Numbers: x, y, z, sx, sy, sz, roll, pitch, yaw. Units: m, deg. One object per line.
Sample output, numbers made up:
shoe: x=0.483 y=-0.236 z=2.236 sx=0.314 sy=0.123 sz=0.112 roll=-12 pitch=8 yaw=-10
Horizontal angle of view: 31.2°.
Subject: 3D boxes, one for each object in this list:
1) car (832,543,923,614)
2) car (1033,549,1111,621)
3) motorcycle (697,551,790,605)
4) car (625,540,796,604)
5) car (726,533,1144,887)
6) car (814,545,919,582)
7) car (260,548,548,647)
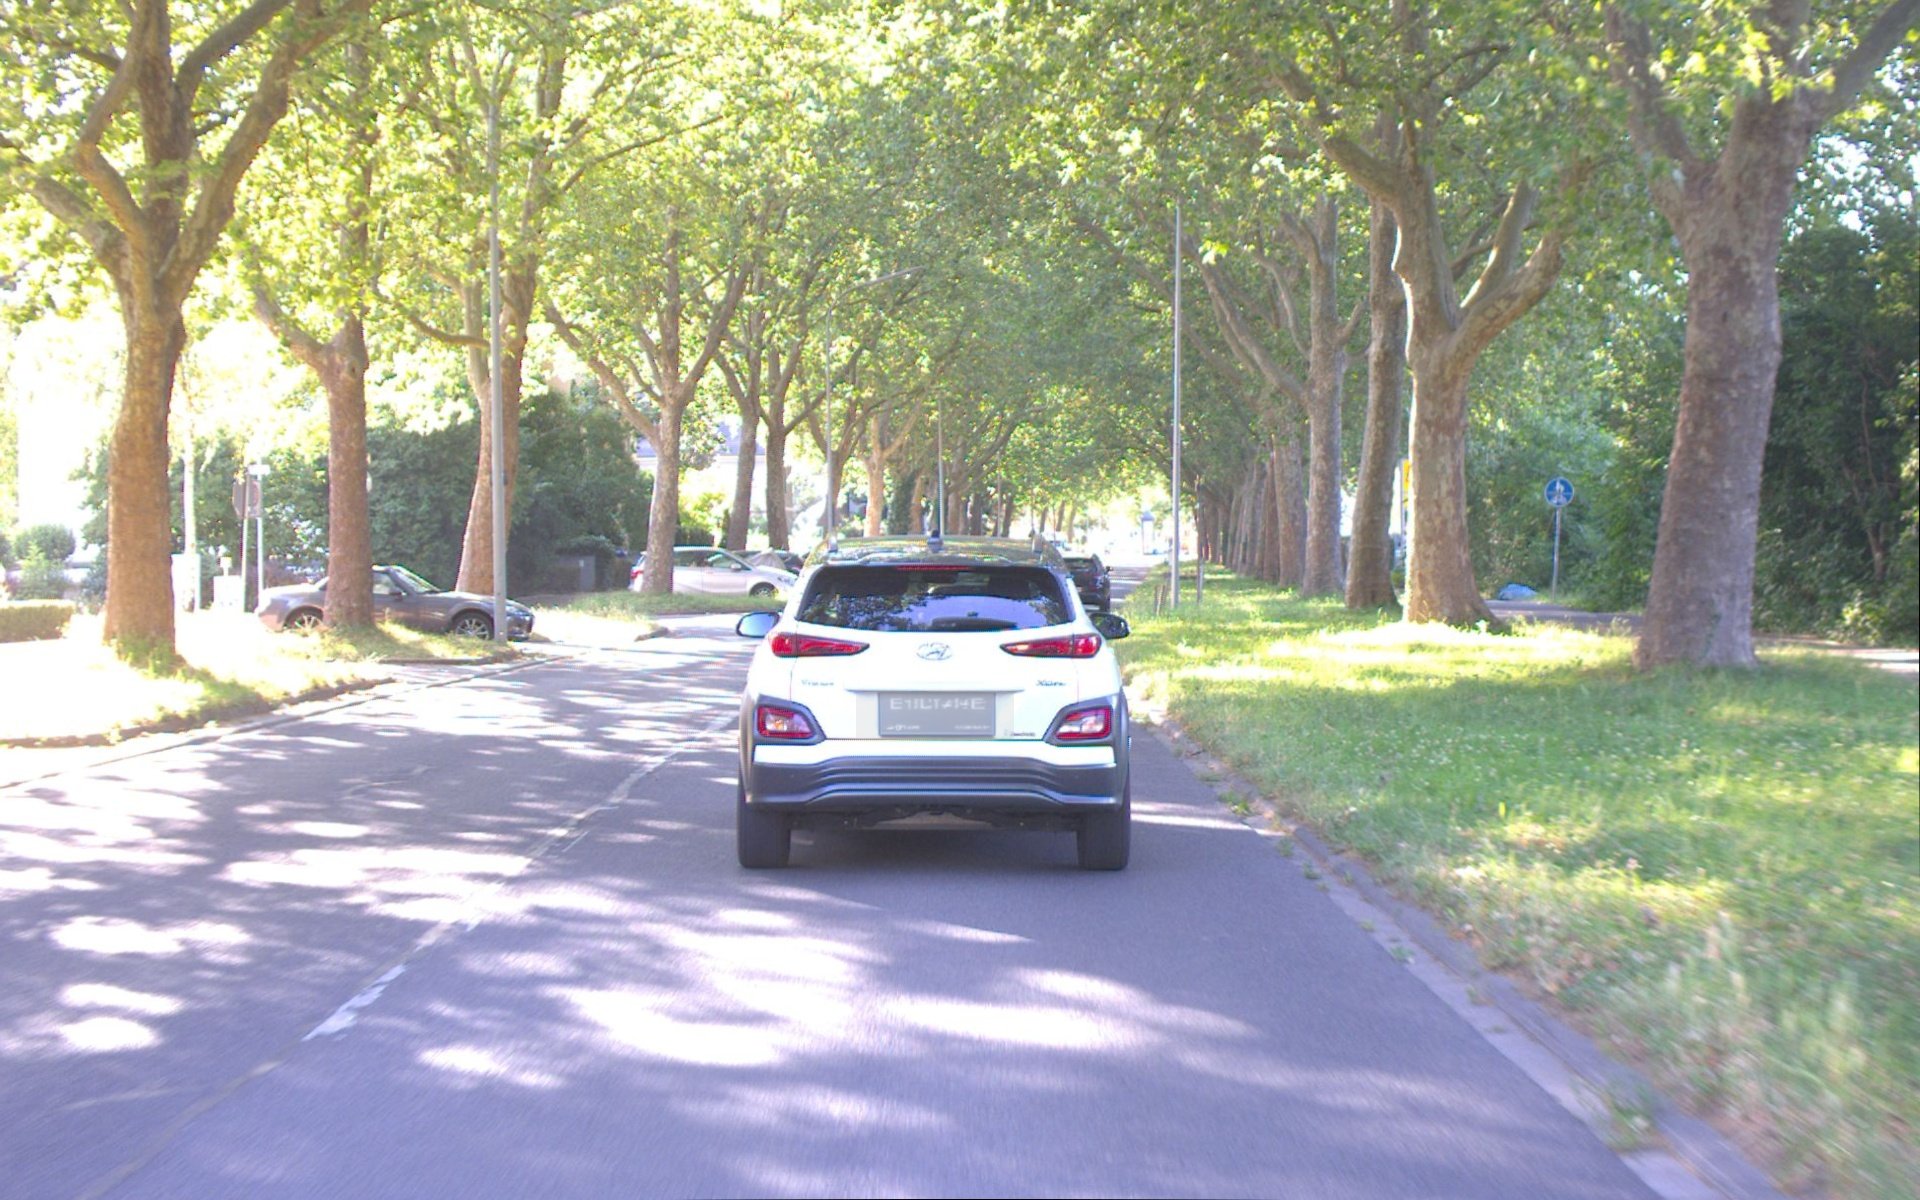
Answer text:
car: x=-1.812 y=-0.491 z=76.229 sx=1.784 sy=1.507 sz=3.838 roll=1 pitch=1 yaw=2
car: x=2.704 y=-0.378 z=83.477 sx=1.676 sy=1.690 sz=3.745 roll=0 pitch=1 yaw=-1
motorcycle: x=-5.626 y=-0.572 z=89.353 sx=2.385 sy=1.383 sz=0.648 roll=0 pitch=2 yaw=-2
car: x=-6.282 y=-0.712 z=86.950 sx=4.183 sy=1.579 sz=2.000 roll=0 pitch=1 yaw=-1
car: x=-0.220 y=0.450 z=17.149 sx=1.835 sy=1.550 sz=4.001 roll=0 pitch=1 yaw=-3
car: x=-3.542 y=-1.393 z=131.002 sx=3.987 sy=1.419 sz=1.809 roll=0 pitch=1 yaw=0
car: x=-7.987 y=-0.044 z=49.615 sx=3.825 sy=1.312 sz=1.790 roll=1 pitch=1 yaw=1
